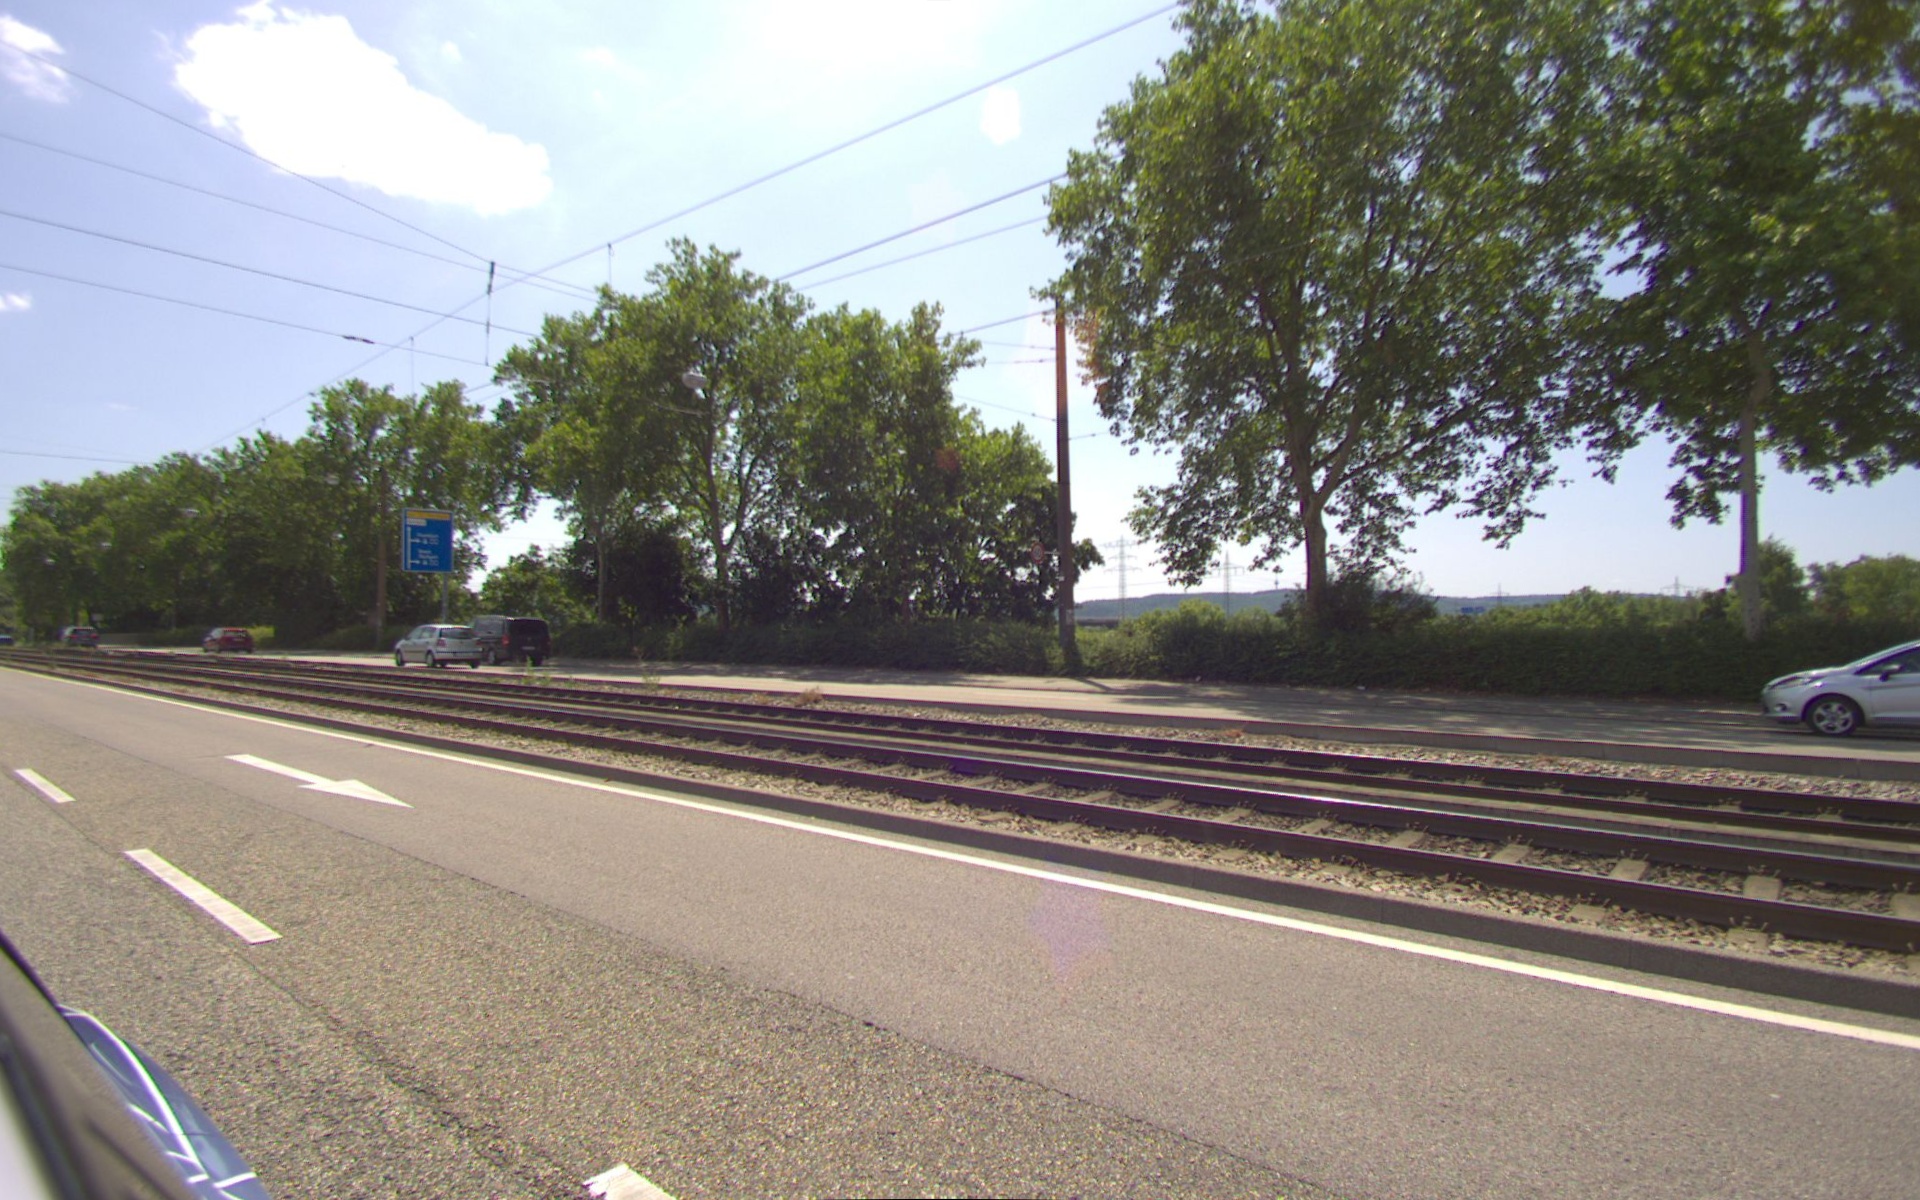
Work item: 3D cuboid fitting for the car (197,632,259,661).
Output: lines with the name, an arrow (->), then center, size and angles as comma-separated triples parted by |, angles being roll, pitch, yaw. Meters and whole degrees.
car -> -44.581, 2.835, 61.617 | 4.464, 1.683, 1.973 | -2, -4, 40

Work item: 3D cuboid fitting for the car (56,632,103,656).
car -> -69.038, 3.442, 79.333 | 4.965, 1.845, 1.973 | -2, -4, 40

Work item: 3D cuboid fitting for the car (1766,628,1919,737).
car -> 13.469, 1.122, 13.763 | 3.879, 1.427, 1.804 | -2, -4, 39

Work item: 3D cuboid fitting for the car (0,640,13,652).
car -> -123.575, 5.856, 130.243 | 4.731, 1.515, 1.780 | -2, -4, 40

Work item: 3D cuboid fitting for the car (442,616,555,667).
car -> -17.844, 1.612, 39.046 | 4.965, 1.845, 1.973 | -2, -4, 40

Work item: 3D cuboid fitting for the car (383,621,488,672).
car -> -17.893, 1.590, 34.469 | 4.055, 1.596, 1.668 | -2, -5, 40
